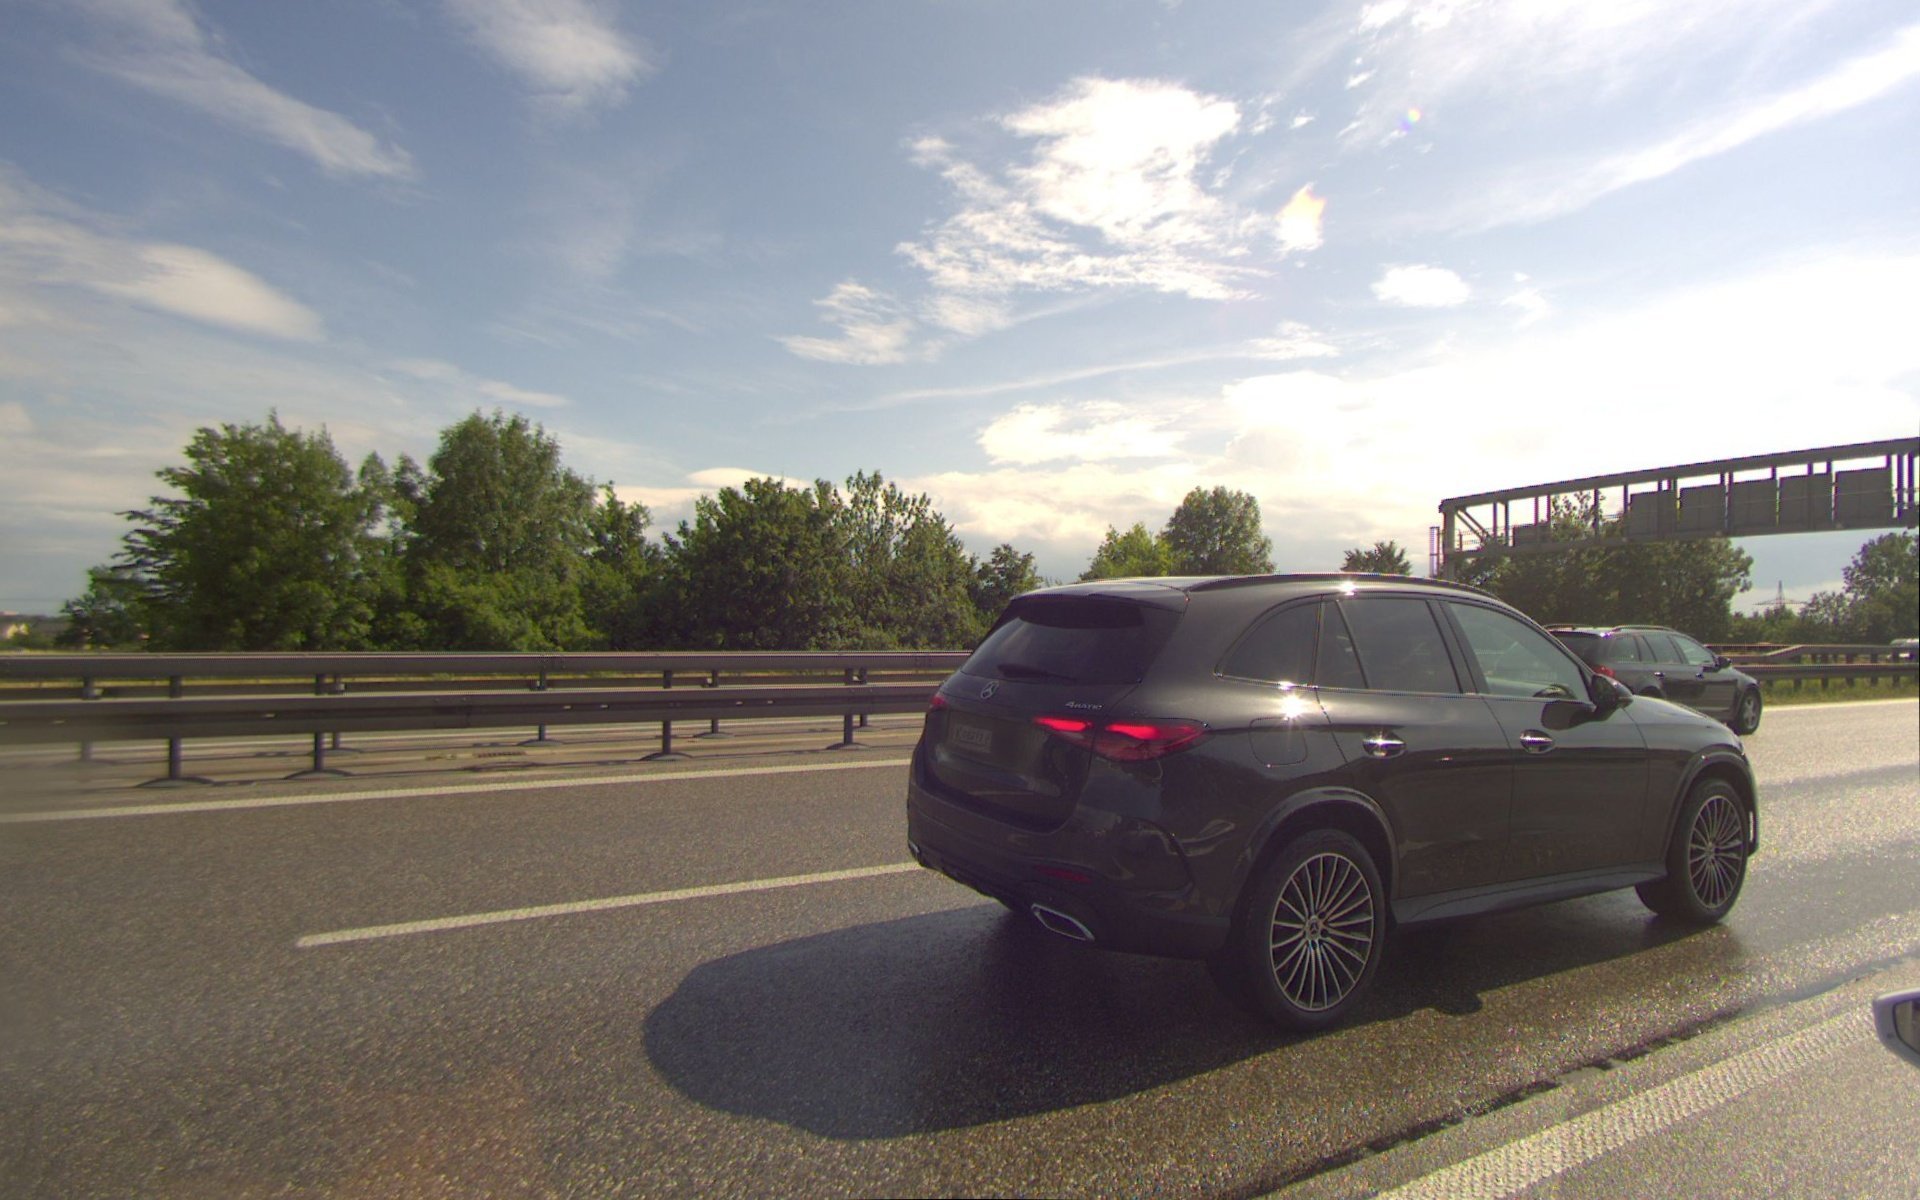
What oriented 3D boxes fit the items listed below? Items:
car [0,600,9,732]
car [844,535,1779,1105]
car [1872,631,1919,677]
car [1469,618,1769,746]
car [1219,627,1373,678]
[{"bbox_3d":[-13.333,0.752,10.900,3.953,1.650,1.984,2,-2,-30],"label":"car"},{"bbox_3d":[1.839,0.714,4.936,4.354,1.683,1.984,2,-1,-30],"label":"car"},{"bbox_3d":[38.372,2.141,40.075,4.110,1.729,1.982,1,-1,-33],"label":"car"},{"bbox_3d":[9.162,1.051,13.906,4.157,1.537,1.749,1,-1,-29],"label":"car"},{"bbox_3d":[10.973,1.672,32.677,4.981,1.506,2.105,1,-1,-32],"label":"car"}]
